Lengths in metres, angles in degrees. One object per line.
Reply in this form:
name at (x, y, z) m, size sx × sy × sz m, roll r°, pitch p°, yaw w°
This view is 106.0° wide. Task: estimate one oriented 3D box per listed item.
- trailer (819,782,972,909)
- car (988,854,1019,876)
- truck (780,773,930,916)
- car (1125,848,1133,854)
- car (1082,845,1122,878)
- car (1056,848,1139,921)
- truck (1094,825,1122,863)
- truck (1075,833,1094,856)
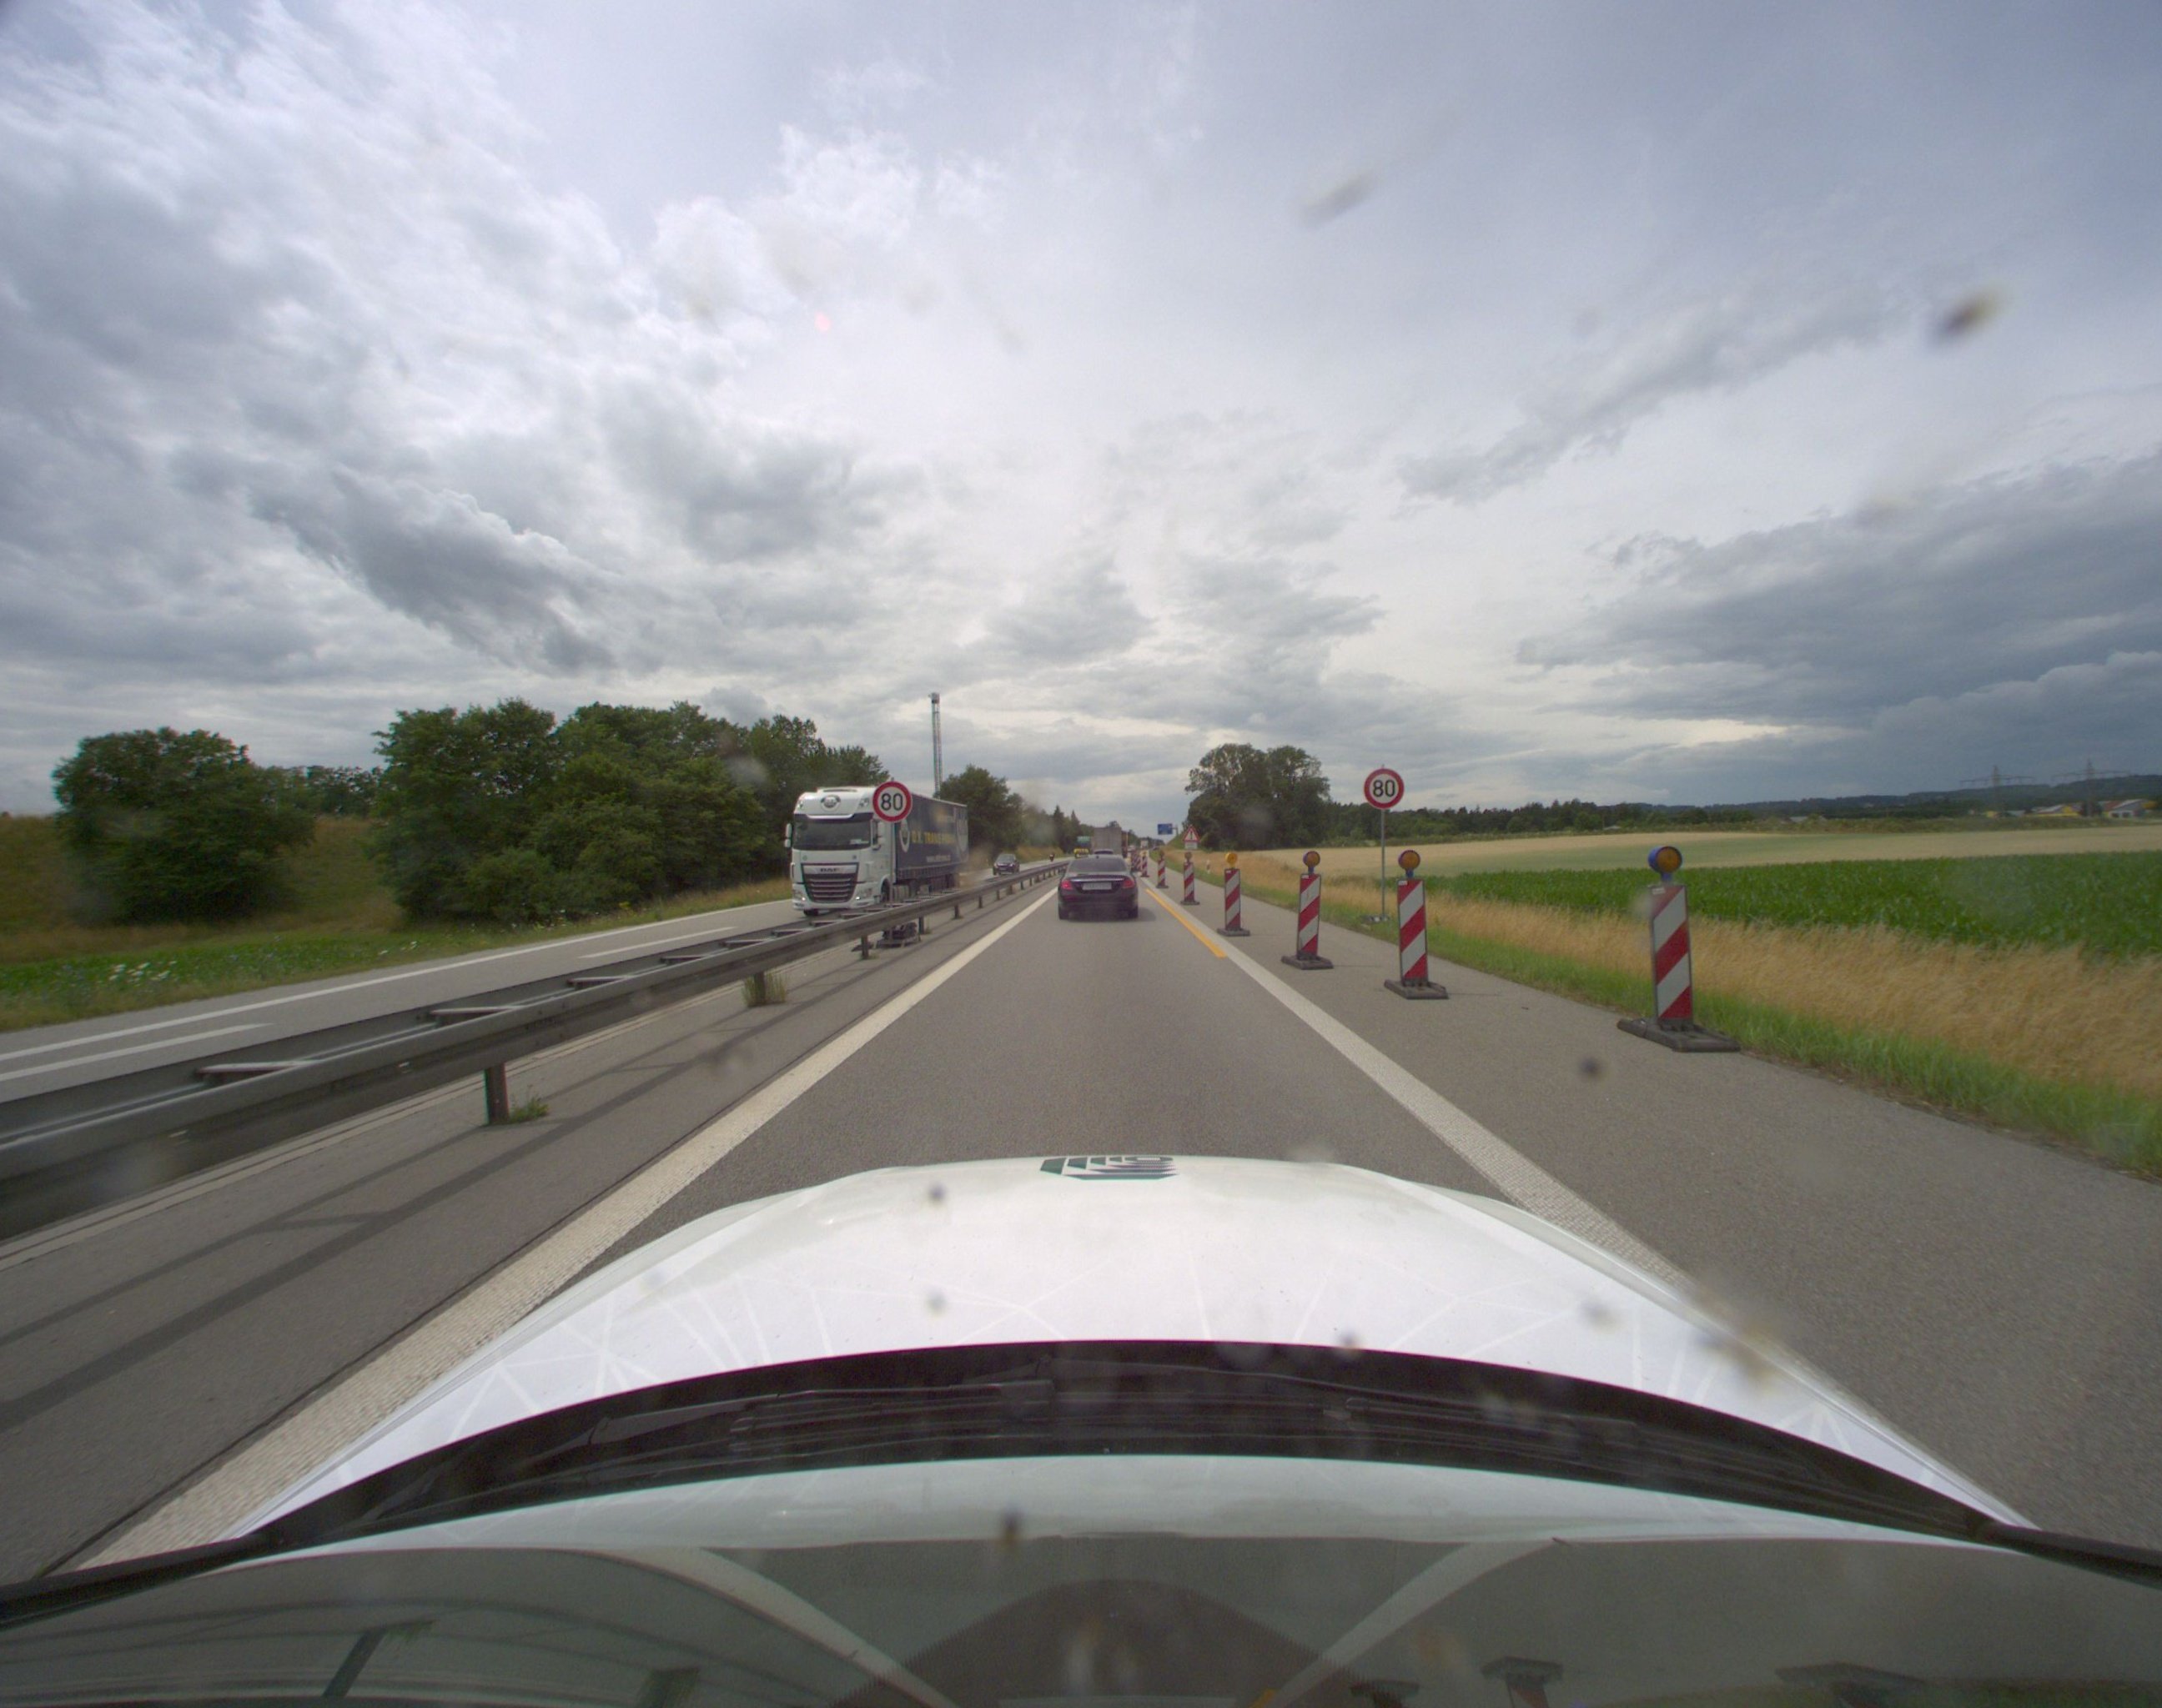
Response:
trailer at (-7.047, -0.230, 33.704) m, size 2.788 × 4.173 × 13.568 m, roll -1°, pitch 0°, yaw 2°
car at (-6.253, 0.897, 66.405) m, size 1.986 × 1.684 × 4.234 m, roll -1°, pitch 0°, yaw 1°
truck at (-7.240, -0.256, 27.289) m, size 2.788 × 4.142 × 7.231 m, roll -1°, pitch 0°, yaw 2°
car at (11.188, -0.685, 191.154) m, size 1.645 × 1.395 × 3.703 m, roll 0°, pitch 0°, yaw -2°
car at (1.306, 0.471, 52.464) m, size 1.991 × 2.014 × 3.991 m, roll 0°, pitch 0°, yaw -6°
car at (0.380, 0.663, 19.552) m, size 1.790 × 1.560 × 4.000 m, roll -1°, pitch 0°, yaw 0°
truck at (2.547, -0.895, 78.113) m, size 2.578 × 3.524 × 4.813 m, roll -1°, pitch -1°, yaw 1°
truck at (0.679, -1.704, 154.918) m, size 3.108 × 4.213 × 6.790 m, roll -1°, pitch 0°, yaw 5°
